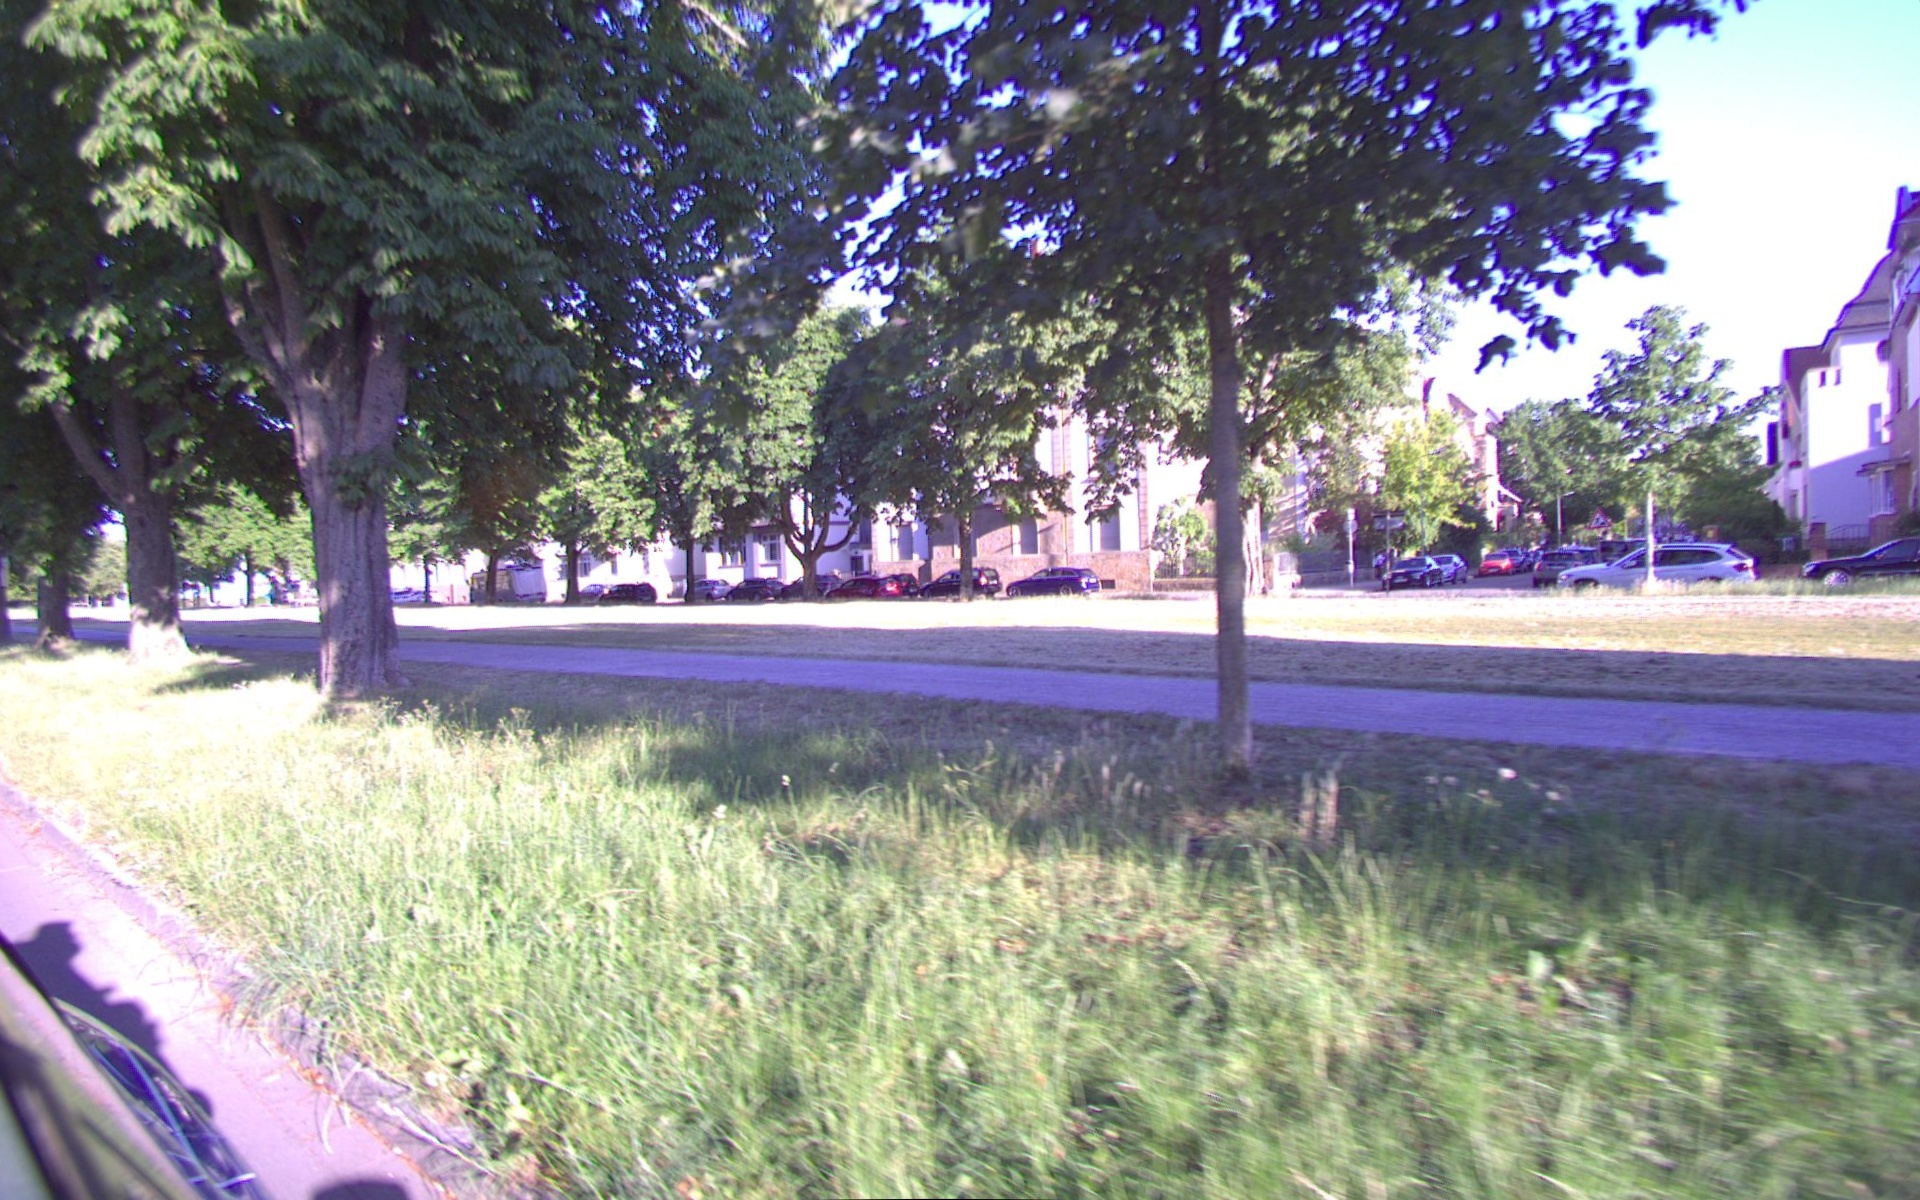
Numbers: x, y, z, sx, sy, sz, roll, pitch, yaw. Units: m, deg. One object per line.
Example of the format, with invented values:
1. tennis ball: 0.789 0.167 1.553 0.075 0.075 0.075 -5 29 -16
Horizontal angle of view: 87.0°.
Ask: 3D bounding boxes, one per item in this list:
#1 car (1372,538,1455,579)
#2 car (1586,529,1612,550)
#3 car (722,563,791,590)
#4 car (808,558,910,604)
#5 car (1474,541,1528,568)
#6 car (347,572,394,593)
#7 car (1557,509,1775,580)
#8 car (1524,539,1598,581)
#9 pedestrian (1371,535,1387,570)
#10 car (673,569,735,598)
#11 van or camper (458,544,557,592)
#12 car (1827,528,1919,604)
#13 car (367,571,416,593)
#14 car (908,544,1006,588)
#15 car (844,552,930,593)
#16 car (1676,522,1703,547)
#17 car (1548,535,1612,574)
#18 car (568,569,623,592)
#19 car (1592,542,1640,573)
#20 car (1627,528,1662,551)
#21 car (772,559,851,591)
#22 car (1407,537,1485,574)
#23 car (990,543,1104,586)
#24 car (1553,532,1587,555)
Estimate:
1. car: 19.958 -1.830 44.401 1.999 1.619 4.805 0 3 41
2. car: 63.107 -5.978 99.933 1.995 2.028 3.953 -1 3 35
3. car: -12.475 -1.432 61.971 4.166 1.440 1.974 -1 3 40
4. car: -4.774 -0.870 47.463 4.875 2.028 1.972 0 3 42
5. car: 32.537 -2.763 60.814 1.999 1.497 3.946 0 3 41
6. car: -50.895 -1.520 87.344 4.873 1.703 1.973 0 3 41
7. car: 18.776 -1.438 27.049 4.647 1.651 1.801 0 3 40
8. car: 23.984 -1.611 40.332 1.864 1.497 3.946 0 3 41
9. pedestrian: 22.582 -2.560 54.540 0.689 1.820 0.863 -1 2 26
10. car: -16.430 -1.063 64.900 3.999 1.747 1.972 0 2 42
11. van or camper: -31.776 -2.206 70.854 7.893 3.133 3.221 0 3 41
12. car: 26.352 -0.951 27.364 4.366 2.028 1.739 -1 2 41
13. car: -47.004 -1.492 83.608 4.873 1.703 1.973 0 3 41
14. car: -0.184 -1.695 50.904 4.875 2.028 1.972 0 3 42
15. car: -3.951 -1.468 54.247 4.425 2.028 1.974 0 2 39
16. car: 68.976 -6.185 95.769 1.995 2.194 3.953 -1 3 35
17. car: 26.617 -1.968 43.410 1.834 1.585 3.858 0 2 39
18. car: -26.620 -1.411 73.856 3.997 1.475 1.974 -1 2 40
19. car: 36.839 -2.401 56.811 1.834 1.585 3.858 0 2 39
20. car: 50.919 -4.519 75.244 1.834 1.585 3.858 0 2 39
21. car: -8.559 -1.423 58.125 4.425 1.664 1.974 0 3 39
22. car: 23.405 -2.147 48.631 2.188 1.619 4.805 0 3 41
23. car: 4.036 -1.617 47.139 4.996 1.763 1.976 -1 -2 35
24. car: 52.493 -4.894 87.111 1.998 1.864 3.949 0 3 39
